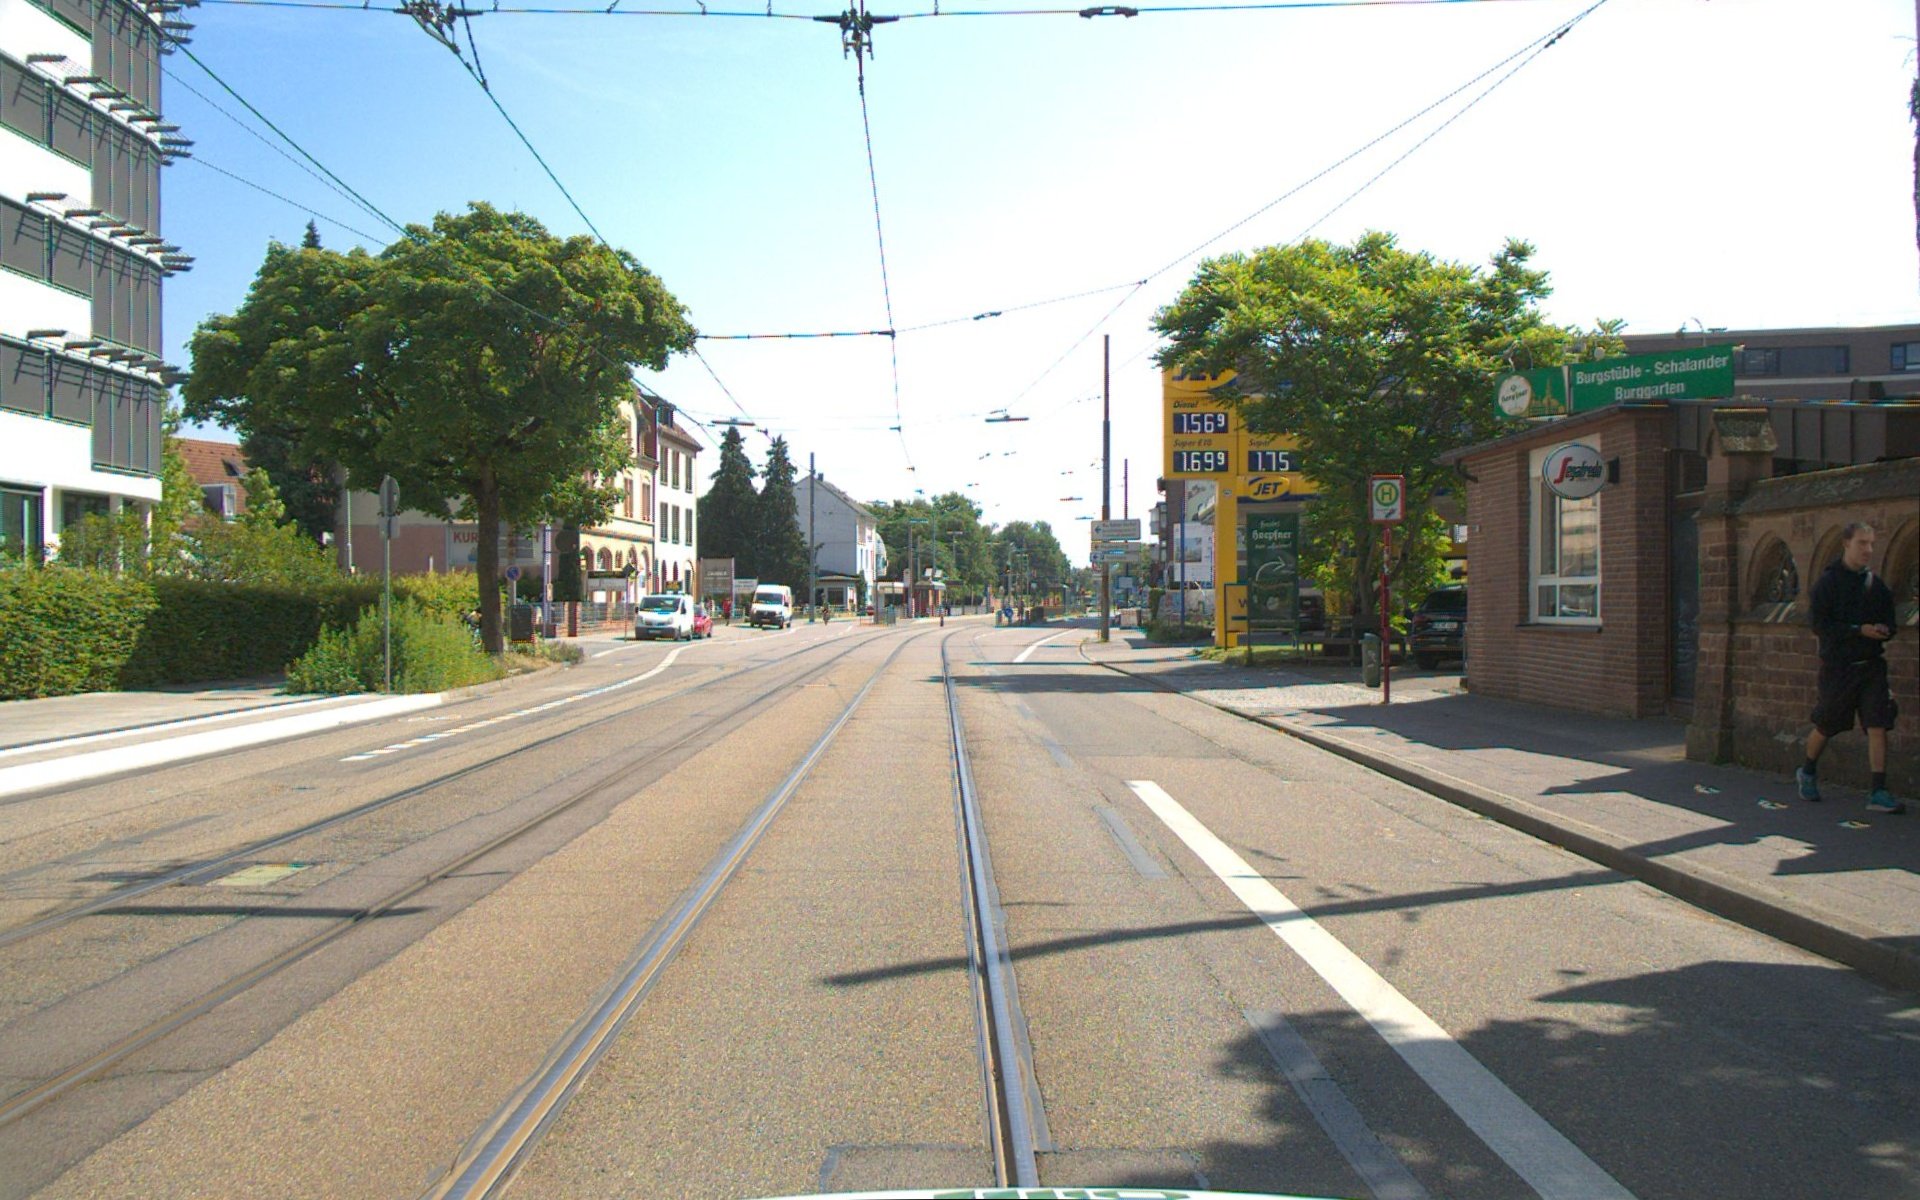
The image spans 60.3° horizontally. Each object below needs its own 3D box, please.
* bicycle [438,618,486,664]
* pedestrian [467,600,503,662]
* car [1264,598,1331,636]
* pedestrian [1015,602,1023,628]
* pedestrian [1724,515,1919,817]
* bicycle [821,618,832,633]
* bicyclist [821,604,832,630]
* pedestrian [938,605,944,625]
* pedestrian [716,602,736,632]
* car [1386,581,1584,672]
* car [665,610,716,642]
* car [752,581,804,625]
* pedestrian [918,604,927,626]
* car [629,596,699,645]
[{"bbox_3d":[-12.881,1.039,42.819,0.623,1.137,2.066,-1,0,-1],"label":"bicycle"},{"bbox_3d":[-12.286,0.800,42.817,0.672,1.590,0.987,1,0,-5],"label":"pedestrian"},{"bbox_3d":[13.407,0.656,65.540,1.720,1.481,4.407,0,0,24],"label":"car"},{"bbox_3d":[4.133,1.053,116.002,0.544,1.791,0.793,-1,0,1],"label":"pedestrian"},{"bbox_3d":[5.888,0.402,10.983,0.956,1.847,1.185,-4,0,0],"label":"pedestrian"},{"bbox_3d":[-9.049,1.703,112.060,0.596,1.001,2.163,-1,0,-2],"label":"bicycle"},{"bbox_3d":[-9.045,1.153,112.088,0.702,1.754,0.987,-1,-1,-3],"label":"bicyclist"},{"bbox_3d":[-1.685,1.338,145.327,0.407,1.719,0.706,0,-1,-7],"label":"pedestrian"},{"bbox_3d":[-14.212,1.024,100.427,0.922,1.847,1.131,0,0,9],"label":"pedestrian"},{"bbox_3d":[10.551,0.493,33.024,1.985,1.669,4.630,-1,0,43],"label":"car"},{"bbox_3d":[-12.595,1.209,77.448,1.685,1.431,4.001,0,0,0],"label":"car"},{"bbox_3d":[-11.085,0.189,101.115,2.281,2.580,6.507,-1,0,1],"label":"car"},{"bbox_3d":[-3.072,1.208,134.356,0.691,1.719,0.416,0,-1,-1],"label":"pedestrian"},{"bbox_3d":[-12.664,0.856,71.098,2.041,2.049,4.909,0,0,1],"label":"car"}]
